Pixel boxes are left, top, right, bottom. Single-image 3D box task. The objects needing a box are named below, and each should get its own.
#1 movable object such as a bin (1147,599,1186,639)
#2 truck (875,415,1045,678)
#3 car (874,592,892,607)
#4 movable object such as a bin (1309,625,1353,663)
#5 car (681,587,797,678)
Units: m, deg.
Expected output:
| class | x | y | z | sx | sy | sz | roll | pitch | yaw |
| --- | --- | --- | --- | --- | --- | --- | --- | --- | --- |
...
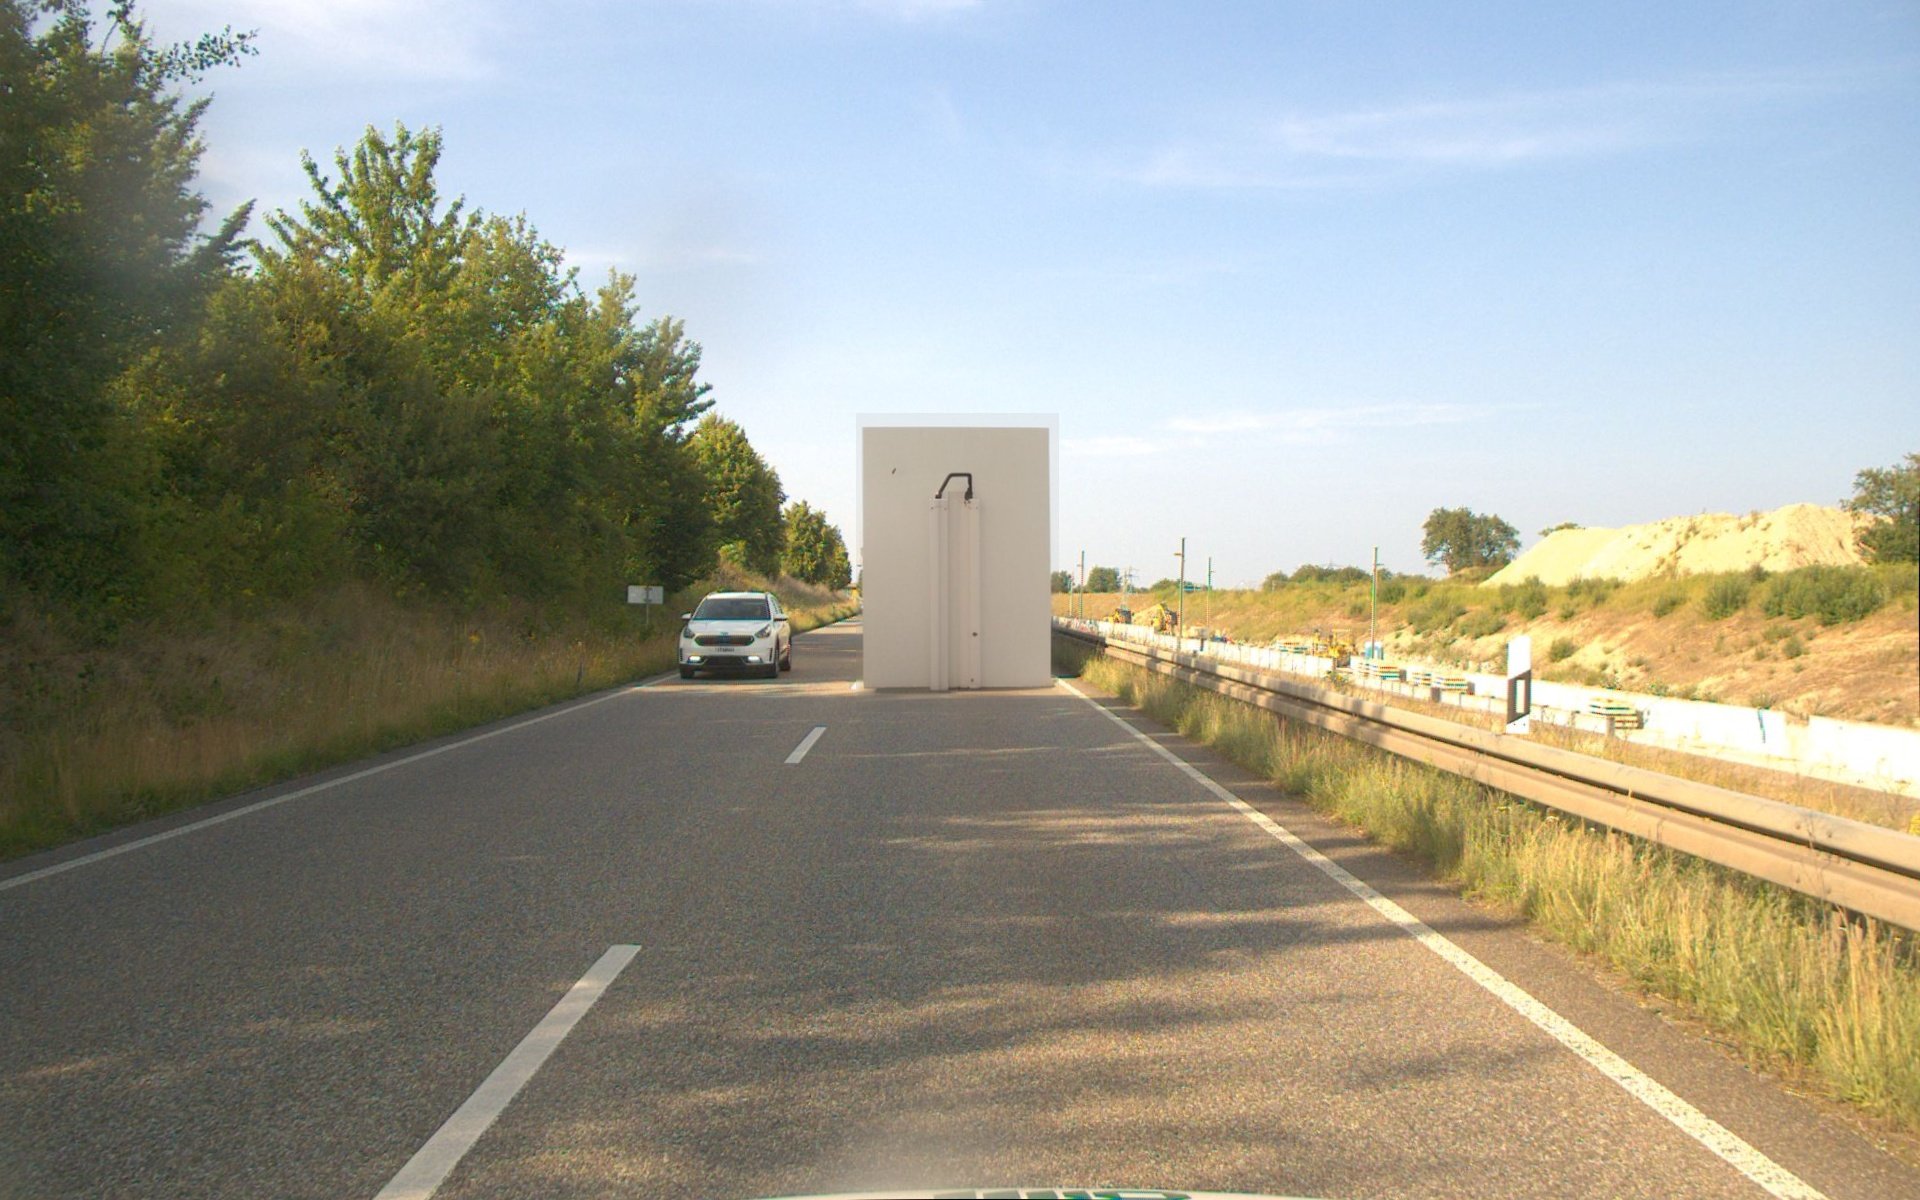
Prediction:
| class | x | y | z | sx | sy | sz | roll | pitch | yaw |
| --- | --- | --- | --- | --- | --- | --- | --- | --- | --- |
| movable object such as a bin | 21.120 | 1.930 | 169.604 | 2.740 | 3.954 | 7.534 | 1 | 0 | -3 |
| truck | -0.090 | -0.988 | 34.360 | 3.089 | 4.770 | 8.439 | 0 | 0 | -1 |
| car | -8.092 | -0.096 | 173.956 | 1.708 | 1.574 | 4.311 | 0 | 0 | -1 |
| movable object such as a bin | 27.448 | 3.257 | 122.284 | 2.845 | 2.708 | 2.019 | 1 | 0 | 23 |
| car | -4.121 | 0.571 | 31.412 | 1.709 | 1.591 | 4.364 | -1 | 0 | -2 |
